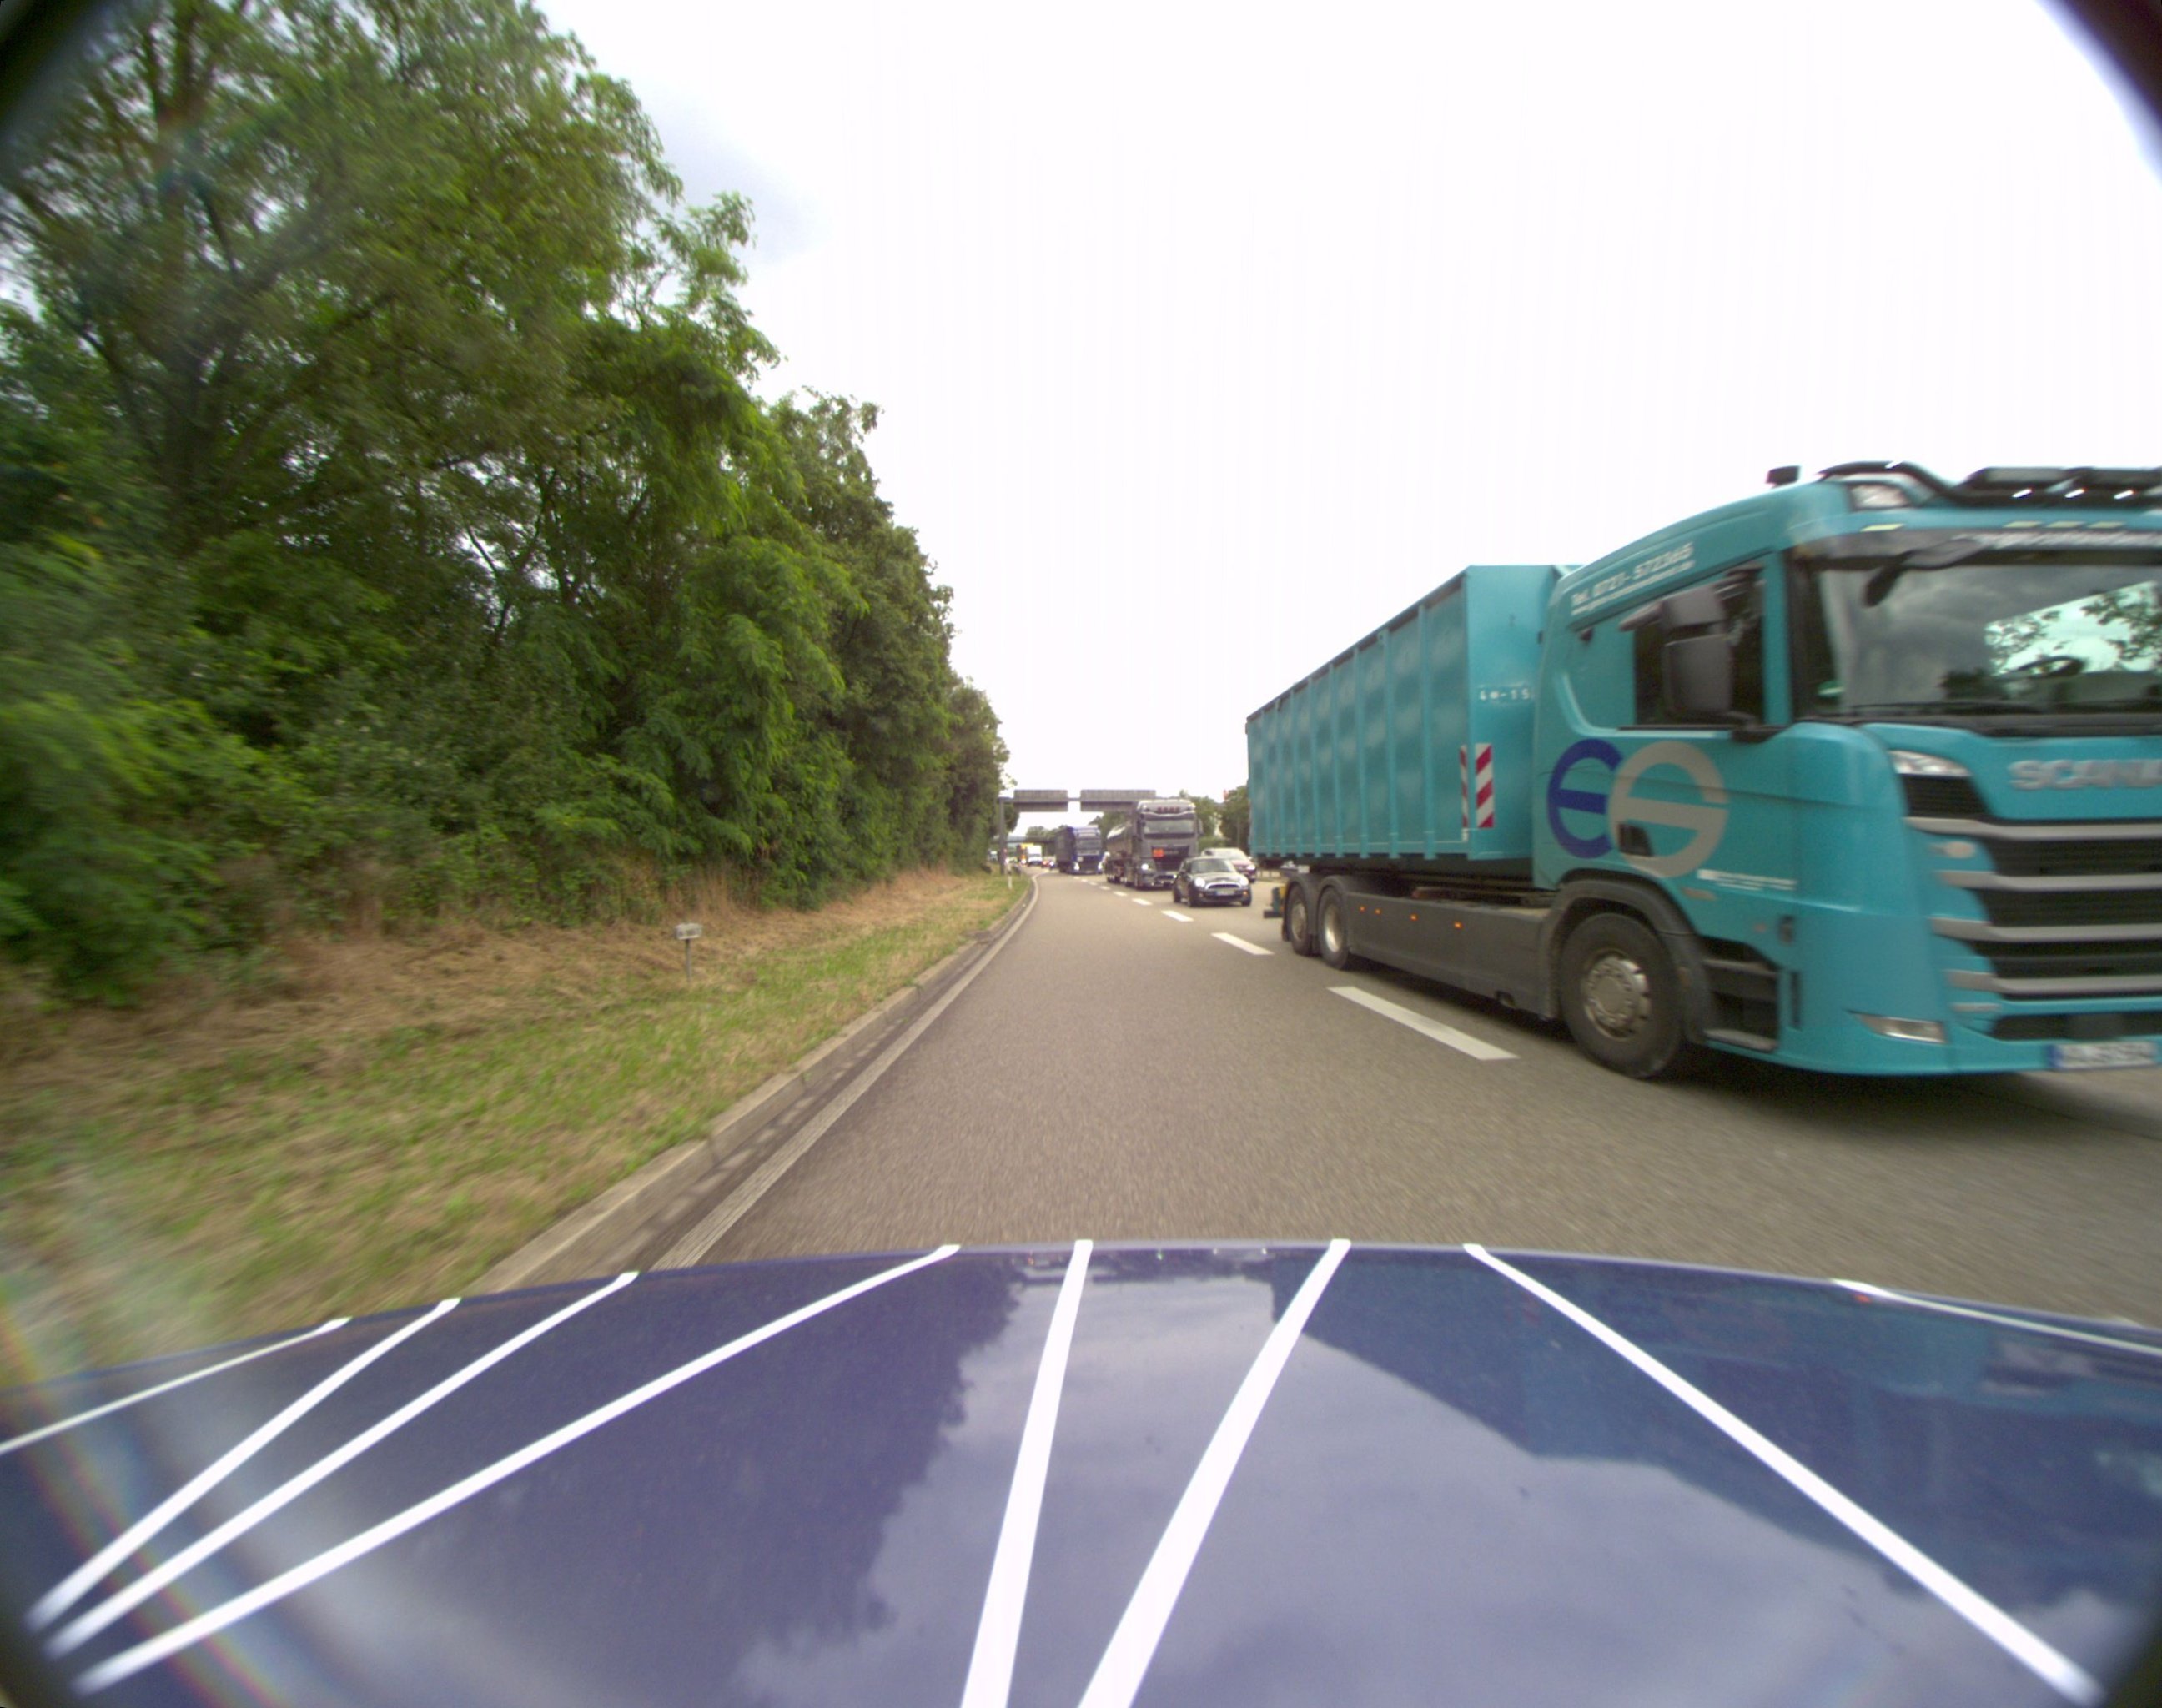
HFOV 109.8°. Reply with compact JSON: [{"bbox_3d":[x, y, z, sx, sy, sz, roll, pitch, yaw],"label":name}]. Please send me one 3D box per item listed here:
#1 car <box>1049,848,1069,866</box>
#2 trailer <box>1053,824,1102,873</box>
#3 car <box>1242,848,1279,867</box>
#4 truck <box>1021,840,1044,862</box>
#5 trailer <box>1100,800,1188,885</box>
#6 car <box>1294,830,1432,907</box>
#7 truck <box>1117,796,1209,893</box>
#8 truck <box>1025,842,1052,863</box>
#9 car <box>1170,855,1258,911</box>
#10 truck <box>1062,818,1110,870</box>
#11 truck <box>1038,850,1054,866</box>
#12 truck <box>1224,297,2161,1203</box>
[{"bbox_3d":[-2.554,0.354,86.490,1.752,2.002,3.996,-1,0,-9],"label":"car"},{"bbox_3d":[-0.501,-0.520,69.659,2.846,4.013,13.076,-2,1,-7],"label":"trailer"},{"bbox_3d":[16.768,0.302,71.133,2.000,1.701,3.997,-1,0,-8],"label":"car"},{"bbox_3d":[-9.647,-0.607,149.257,3.368,4.041,10.175,-2,1,-9],"label":"truck"},{"bbox_3d":[3.037,-0.528,40.265,2.691,3.884,10.981,-1,0,-6],"label":"trailer"},{"bbox_3d":[7.819,0.357,21.655,1.856,1.880,4.875,-2,0,-4],"label":"car"},{"bbox_3d":[3.495,-0.403,34.231,2.691,3.884,6.931,-1,0,-6],"label":"truck"},{"bbox_3d":[-6.793,-0.215,119.936,3.368,3.099,7.233,-2,1,-9],"label":"truck"},{"bbox_3d":[3.798,0.779,22.283,1.752,1.413,3.663,-2,0,-2],"label":"car"},{"bbox_3d":[0.321,-0.748,62.868,2.962,3.946,7.466,-2,0,-7],"label":"truck"},{"bbox_3d":[-4.648,0.472,100.662,1.895,2.002,6.088,-1,0,-5],"label":"truck"},{"bbox_3d":[4.488,-0.439,8.909,2.937,3.774,11.327,-1,0,-3],"label":"truck"}]
